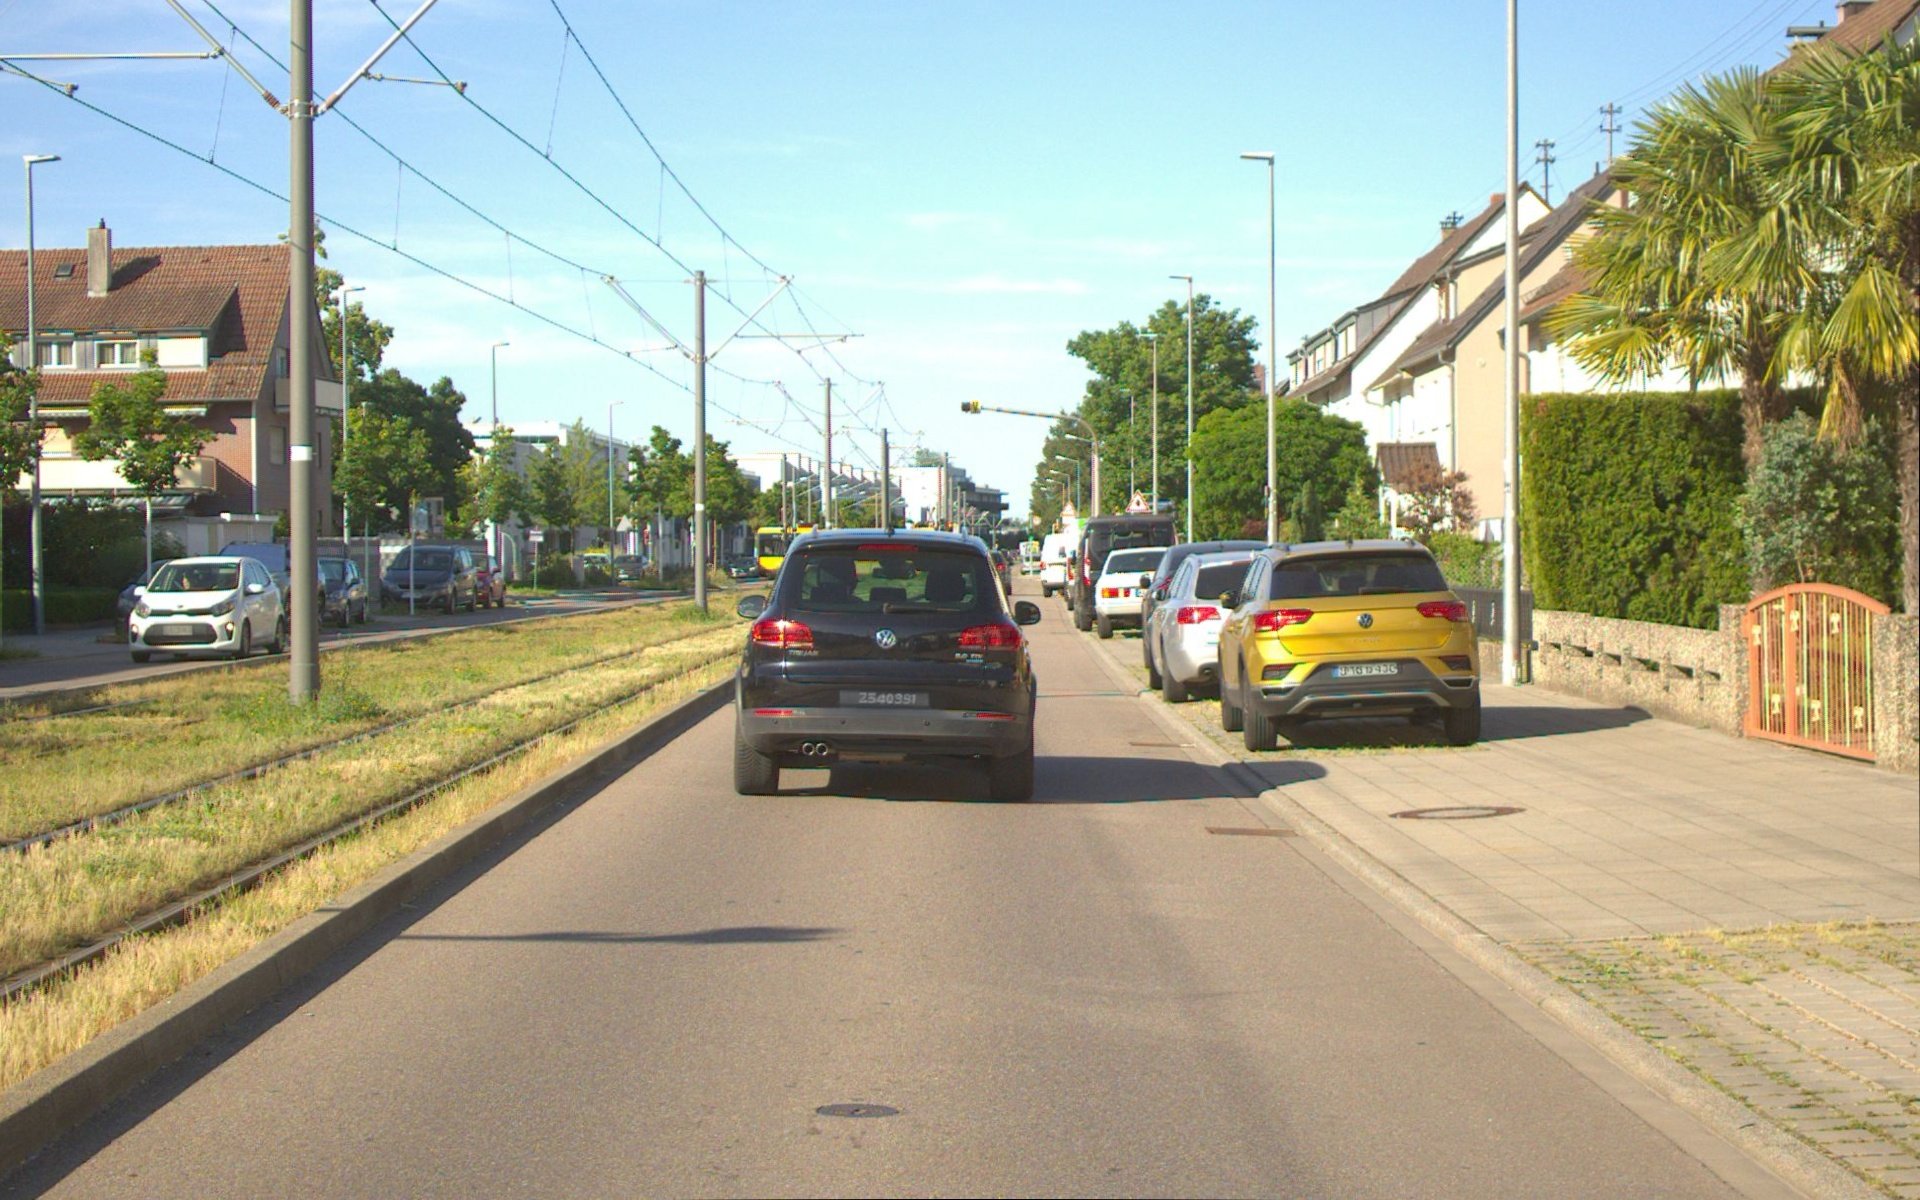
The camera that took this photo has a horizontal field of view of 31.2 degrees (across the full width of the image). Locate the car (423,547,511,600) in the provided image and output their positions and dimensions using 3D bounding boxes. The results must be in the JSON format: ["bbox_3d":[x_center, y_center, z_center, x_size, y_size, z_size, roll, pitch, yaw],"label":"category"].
[{"bbox_3d":[-13.360,-0.739,93.402,1.695,1.400,4.078,-1,1,2],"label":"car"}]

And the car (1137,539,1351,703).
[{"bbox_3d":[2.808,0.158,34.888,1.748,1.442,4.699,-1,2,0],"label":"car"}]

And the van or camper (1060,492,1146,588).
[{"bbox_3d":[3.566,-1.491,86.752,1.993,2.263,6.304,-2,0,1],"label":"van or camper"}]

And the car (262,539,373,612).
[{"bbox_3d":[-13.883,-0.550,74.462,1.676,1.485,4.050,2,1,-1],"label":"car"}]

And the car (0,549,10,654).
[{"bbox_3d":[-14.210,0.018,46.207,1.688,1.470,4.443,1,1,-1],"label":"car"}]

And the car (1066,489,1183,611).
[{"bbox_3d":[3.036,-0.923,64.243,1.960,2.137,5.335,-1,1,1],"label":"car"}]

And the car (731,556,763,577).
[{"bbox_3d":[-14.632,-2.297,236.807,1.688,1.384,4.387,-2,1,3],"label":"car"}]

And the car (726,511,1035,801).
[{"bbox_3d":[-0.495,0.311,22.159,1.775,1.664,4.000,1,1,-1],"label":"car"}]

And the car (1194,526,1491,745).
[{"bbox_3d":[2.952,0.232,27.497,1.805,1.553,4.926,-1,1,0],"label":"car"}]

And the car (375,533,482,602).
[{"bbox_3d":[-13.471,-0.839,87.436,1.819,1.678,4.846,2,1,1],"label":"car"}]

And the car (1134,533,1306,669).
[{"bbox_3d":[3.007,-0.027,40.550,1.777,1.493,4.728,-1,1,2],"label":"car"}]

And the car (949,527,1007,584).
[{"bbox_3d":[0.570,-1.463,112.991,1.627,1.822,4.131,-1,1,-3],"label":"car"}]

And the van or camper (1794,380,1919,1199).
[{"bbox_3d":[2.995,0.468,5.241,1.949,1.840,5.583,-1,1,-1],"label":"van or camper"}]

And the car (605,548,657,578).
[{"bbox_3d":[-16.582,-1.849,173.489,1.811,1.456,4.316,1,1,6],"label":"car"}]

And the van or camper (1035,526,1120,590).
[{"bbox_3d":[3.701,-1.325,107.476,2.028,1.950,5.293,0,1,9],"label":"van or camper"}]

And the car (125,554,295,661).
[{"bbox_3d":[-10.734,0.084,49.410,1.688,1.470,3.680,0,1,-1],"label":"car"}]

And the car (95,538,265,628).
[{"bbox_3d":[-14.097,-0.322,62.357,1.960,1.535,4.557,1,1,1],"label":"car"}]

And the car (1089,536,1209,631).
[{"bbox_3d":[3.107,-0.312,57.413,1.853,1.439,5.613,-2,1,2],"label":"car"}]
